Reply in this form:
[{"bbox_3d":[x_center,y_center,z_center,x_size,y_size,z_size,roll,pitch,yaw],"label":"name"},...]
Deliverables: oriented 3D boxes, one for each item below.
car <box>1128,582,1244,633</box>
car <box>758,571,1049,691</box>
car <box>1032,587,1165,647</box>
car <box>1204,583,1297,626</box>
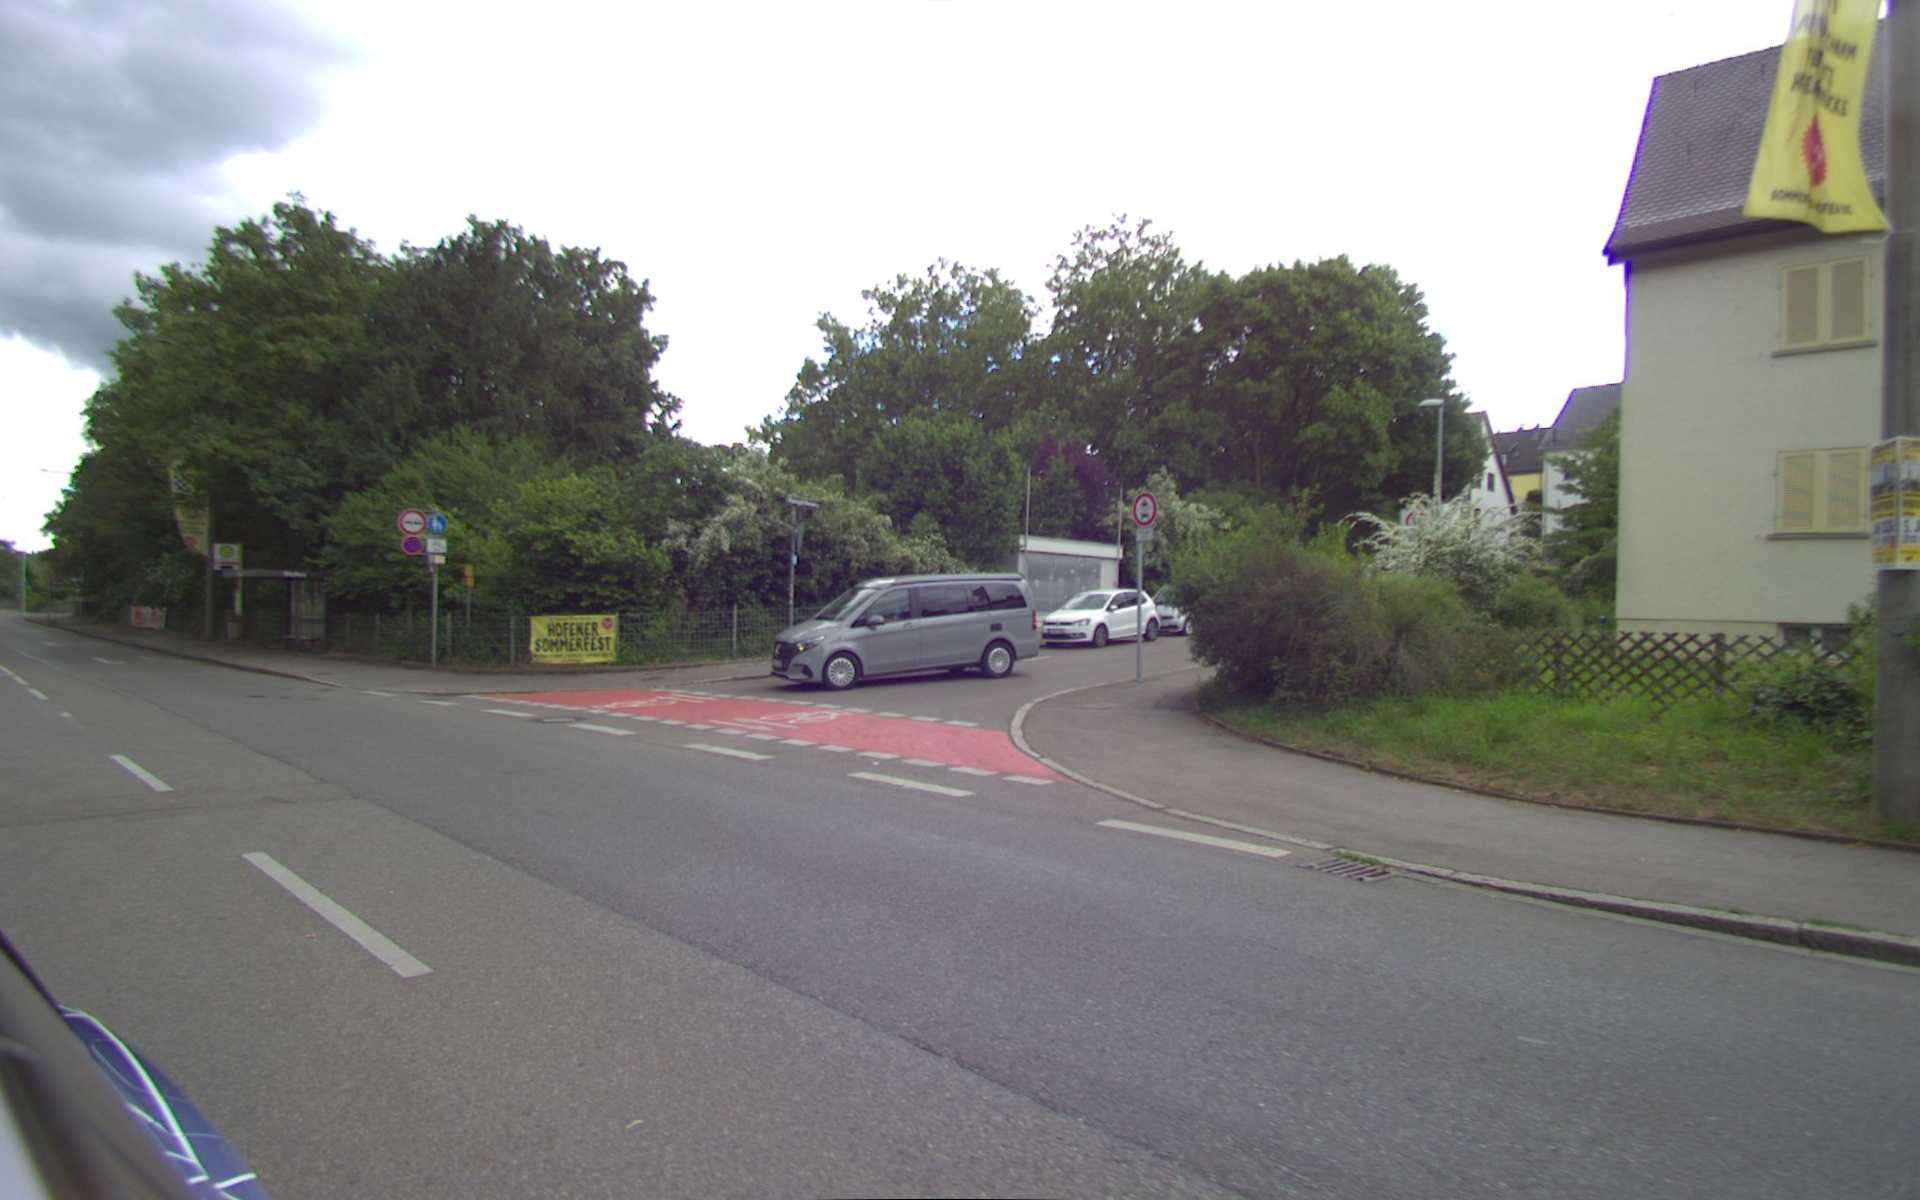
[{"bbox_3d":[6.913,0.199,30.769,1.800,1.453,3.855,-1,0,41],"label":"car"},{"bbox_3d":[-1.000,0.483,18.910,5.067,1.942,1.958,-2,1,-29],"label":"car"},{"bbox_3d":[3.706,0.398,26.690,1.604,1.453,3.855,-1,0,41],"label":"car"},{"bbox_3d":[9.665,0.131,33.547,1.689,1.318,3.355,-1,0,41],"label":"car"}]
